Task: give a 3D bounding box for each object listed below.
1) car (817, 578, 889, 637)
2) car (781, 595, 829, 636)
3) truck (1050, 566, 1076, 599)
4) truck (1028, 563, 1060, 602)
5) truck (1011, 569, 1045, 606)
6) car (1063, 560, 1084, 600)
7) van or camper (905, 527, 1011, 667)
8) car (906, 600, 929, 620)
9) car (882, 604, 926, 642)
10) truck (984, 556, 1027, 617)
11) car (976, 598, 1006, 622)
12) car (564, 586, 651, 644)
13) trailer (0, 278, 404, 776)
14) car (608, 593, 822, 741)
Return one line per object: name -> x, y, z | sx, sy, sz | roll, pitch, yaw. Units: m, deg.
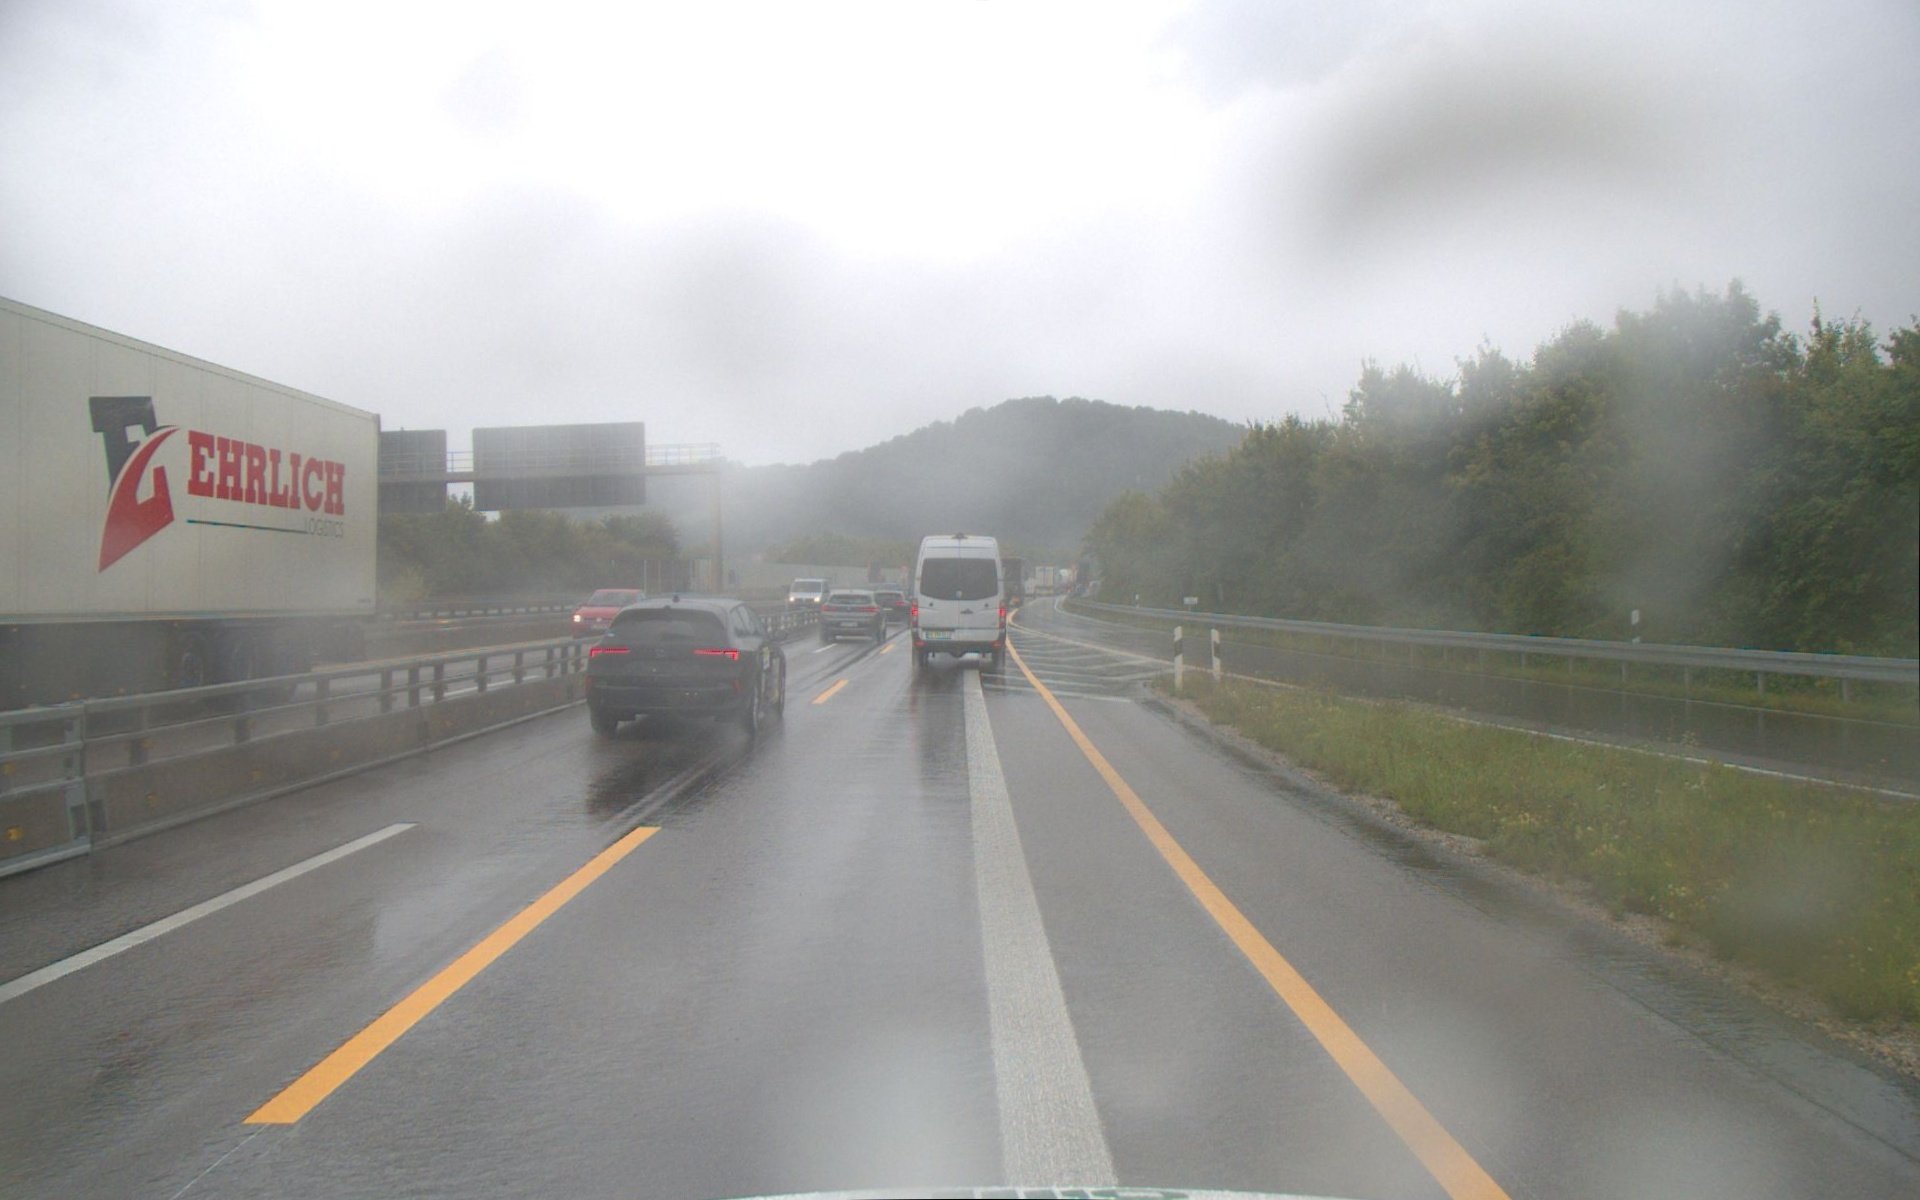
car -> -3.154, 0.213, 49.370 | 1.829, 1.688, 3.988 | 0, 0, 0
car -> -8.241, 0.813, 88.320 | 1.869, 2.049, 5.828 | 1, 0, 1
truck -> 16.237, -2.758, 260.279 | 3.846, 4.868, 9.911 | 1, 0, 4
truck -> 11.270, -2.303, 221.410 | 3.846, 4.868, 9.911 | 1, 0, 4
truck -> 7.466, -1.362, 182.061 | 3.252, 3.827, 9.906 | 1, 0, 0
car -> 12.295, -2.096, 179.439 | 2.015, 4.265, 6.748 | 0, 0, 2
van or camper -> -0.055, -0.063, 35.082 | 2.096, 2.769, 4.647 | 0, 0, -1
car -> -2.387, 0.581, 93.829 | 1.237, 1.097, 3.254 | 0, 0, -1
car -> -2.349, 0.942, 69.496 | 1.815, 1.527, 3.998 | 0, 0, -2
truck -> 3.766, -1.044, 139.758 | 3.252, 4.868, 9.906 | 1, 0, 0
car -> 1.710, 0.550, 92.029 | 1.357, 1.278, 3.120 | 0, 0, -4
car -> -9.947, 0.427, 46.917 | 1.575, 1.530, 4.216 | 1, 0, -1
trailer -> -9.844, -0.608, 18.669 | 2.833, 4.361, 12.893 | 0, 0, 0
car -> -2.647, 0.673, 18.936 | 1.900, 1.452, 4.758 | 1, 0, -2
